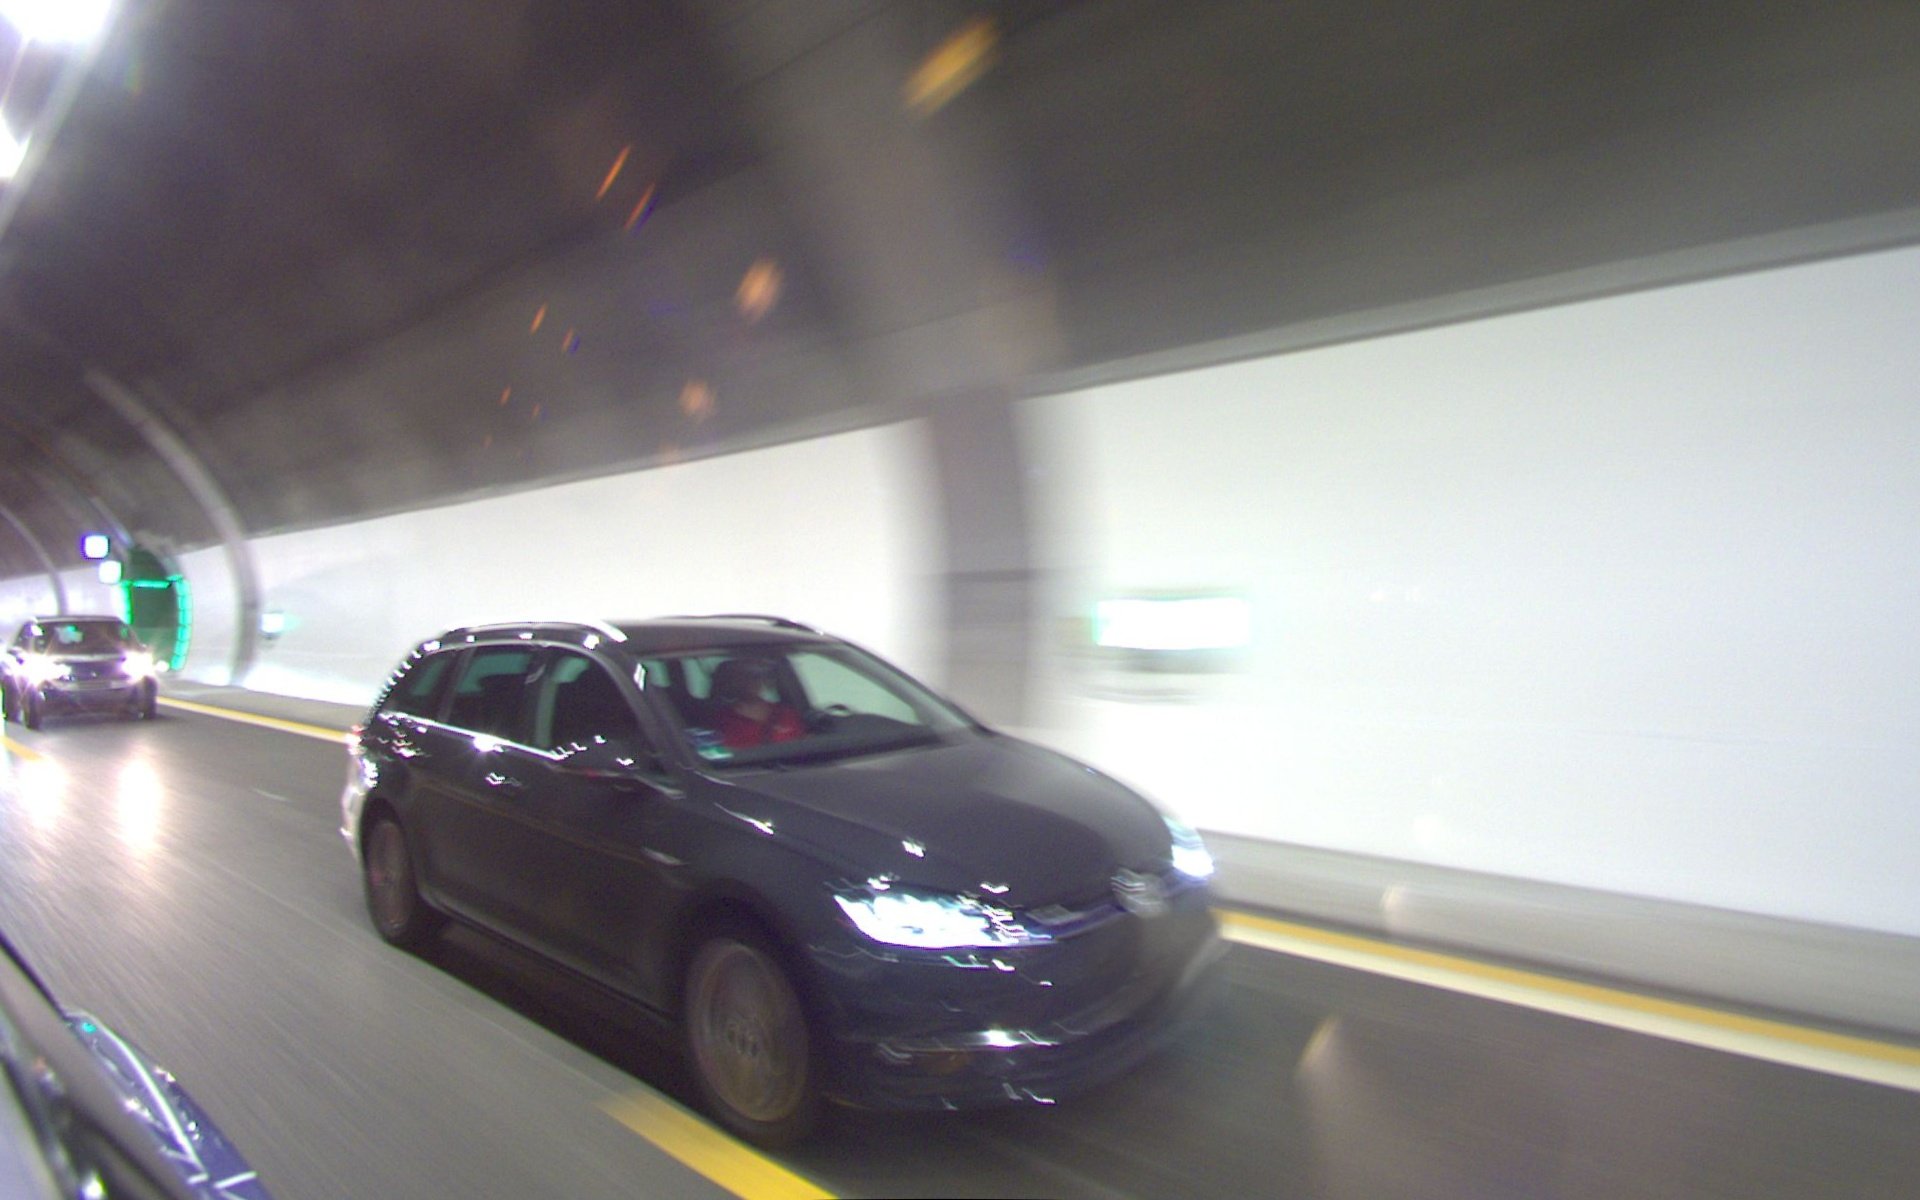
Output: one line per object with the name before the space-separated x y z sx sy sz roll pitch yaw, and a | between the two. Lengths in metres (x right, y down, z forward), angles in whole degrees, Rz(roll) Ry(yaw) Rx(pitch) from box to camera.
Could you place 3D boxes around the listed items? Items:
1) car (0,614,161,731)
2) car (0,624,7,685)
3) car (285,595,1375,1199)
car | -13.077 0.998 14.903 2.648 1.528 1.512 -1 -1 39
car | -24.678 1.317 24.526 4.058 1.431 1.885 -1 -1 41
car | -1.045 0.758 4.283 4.879 1.449 1.760 -1 0 41
